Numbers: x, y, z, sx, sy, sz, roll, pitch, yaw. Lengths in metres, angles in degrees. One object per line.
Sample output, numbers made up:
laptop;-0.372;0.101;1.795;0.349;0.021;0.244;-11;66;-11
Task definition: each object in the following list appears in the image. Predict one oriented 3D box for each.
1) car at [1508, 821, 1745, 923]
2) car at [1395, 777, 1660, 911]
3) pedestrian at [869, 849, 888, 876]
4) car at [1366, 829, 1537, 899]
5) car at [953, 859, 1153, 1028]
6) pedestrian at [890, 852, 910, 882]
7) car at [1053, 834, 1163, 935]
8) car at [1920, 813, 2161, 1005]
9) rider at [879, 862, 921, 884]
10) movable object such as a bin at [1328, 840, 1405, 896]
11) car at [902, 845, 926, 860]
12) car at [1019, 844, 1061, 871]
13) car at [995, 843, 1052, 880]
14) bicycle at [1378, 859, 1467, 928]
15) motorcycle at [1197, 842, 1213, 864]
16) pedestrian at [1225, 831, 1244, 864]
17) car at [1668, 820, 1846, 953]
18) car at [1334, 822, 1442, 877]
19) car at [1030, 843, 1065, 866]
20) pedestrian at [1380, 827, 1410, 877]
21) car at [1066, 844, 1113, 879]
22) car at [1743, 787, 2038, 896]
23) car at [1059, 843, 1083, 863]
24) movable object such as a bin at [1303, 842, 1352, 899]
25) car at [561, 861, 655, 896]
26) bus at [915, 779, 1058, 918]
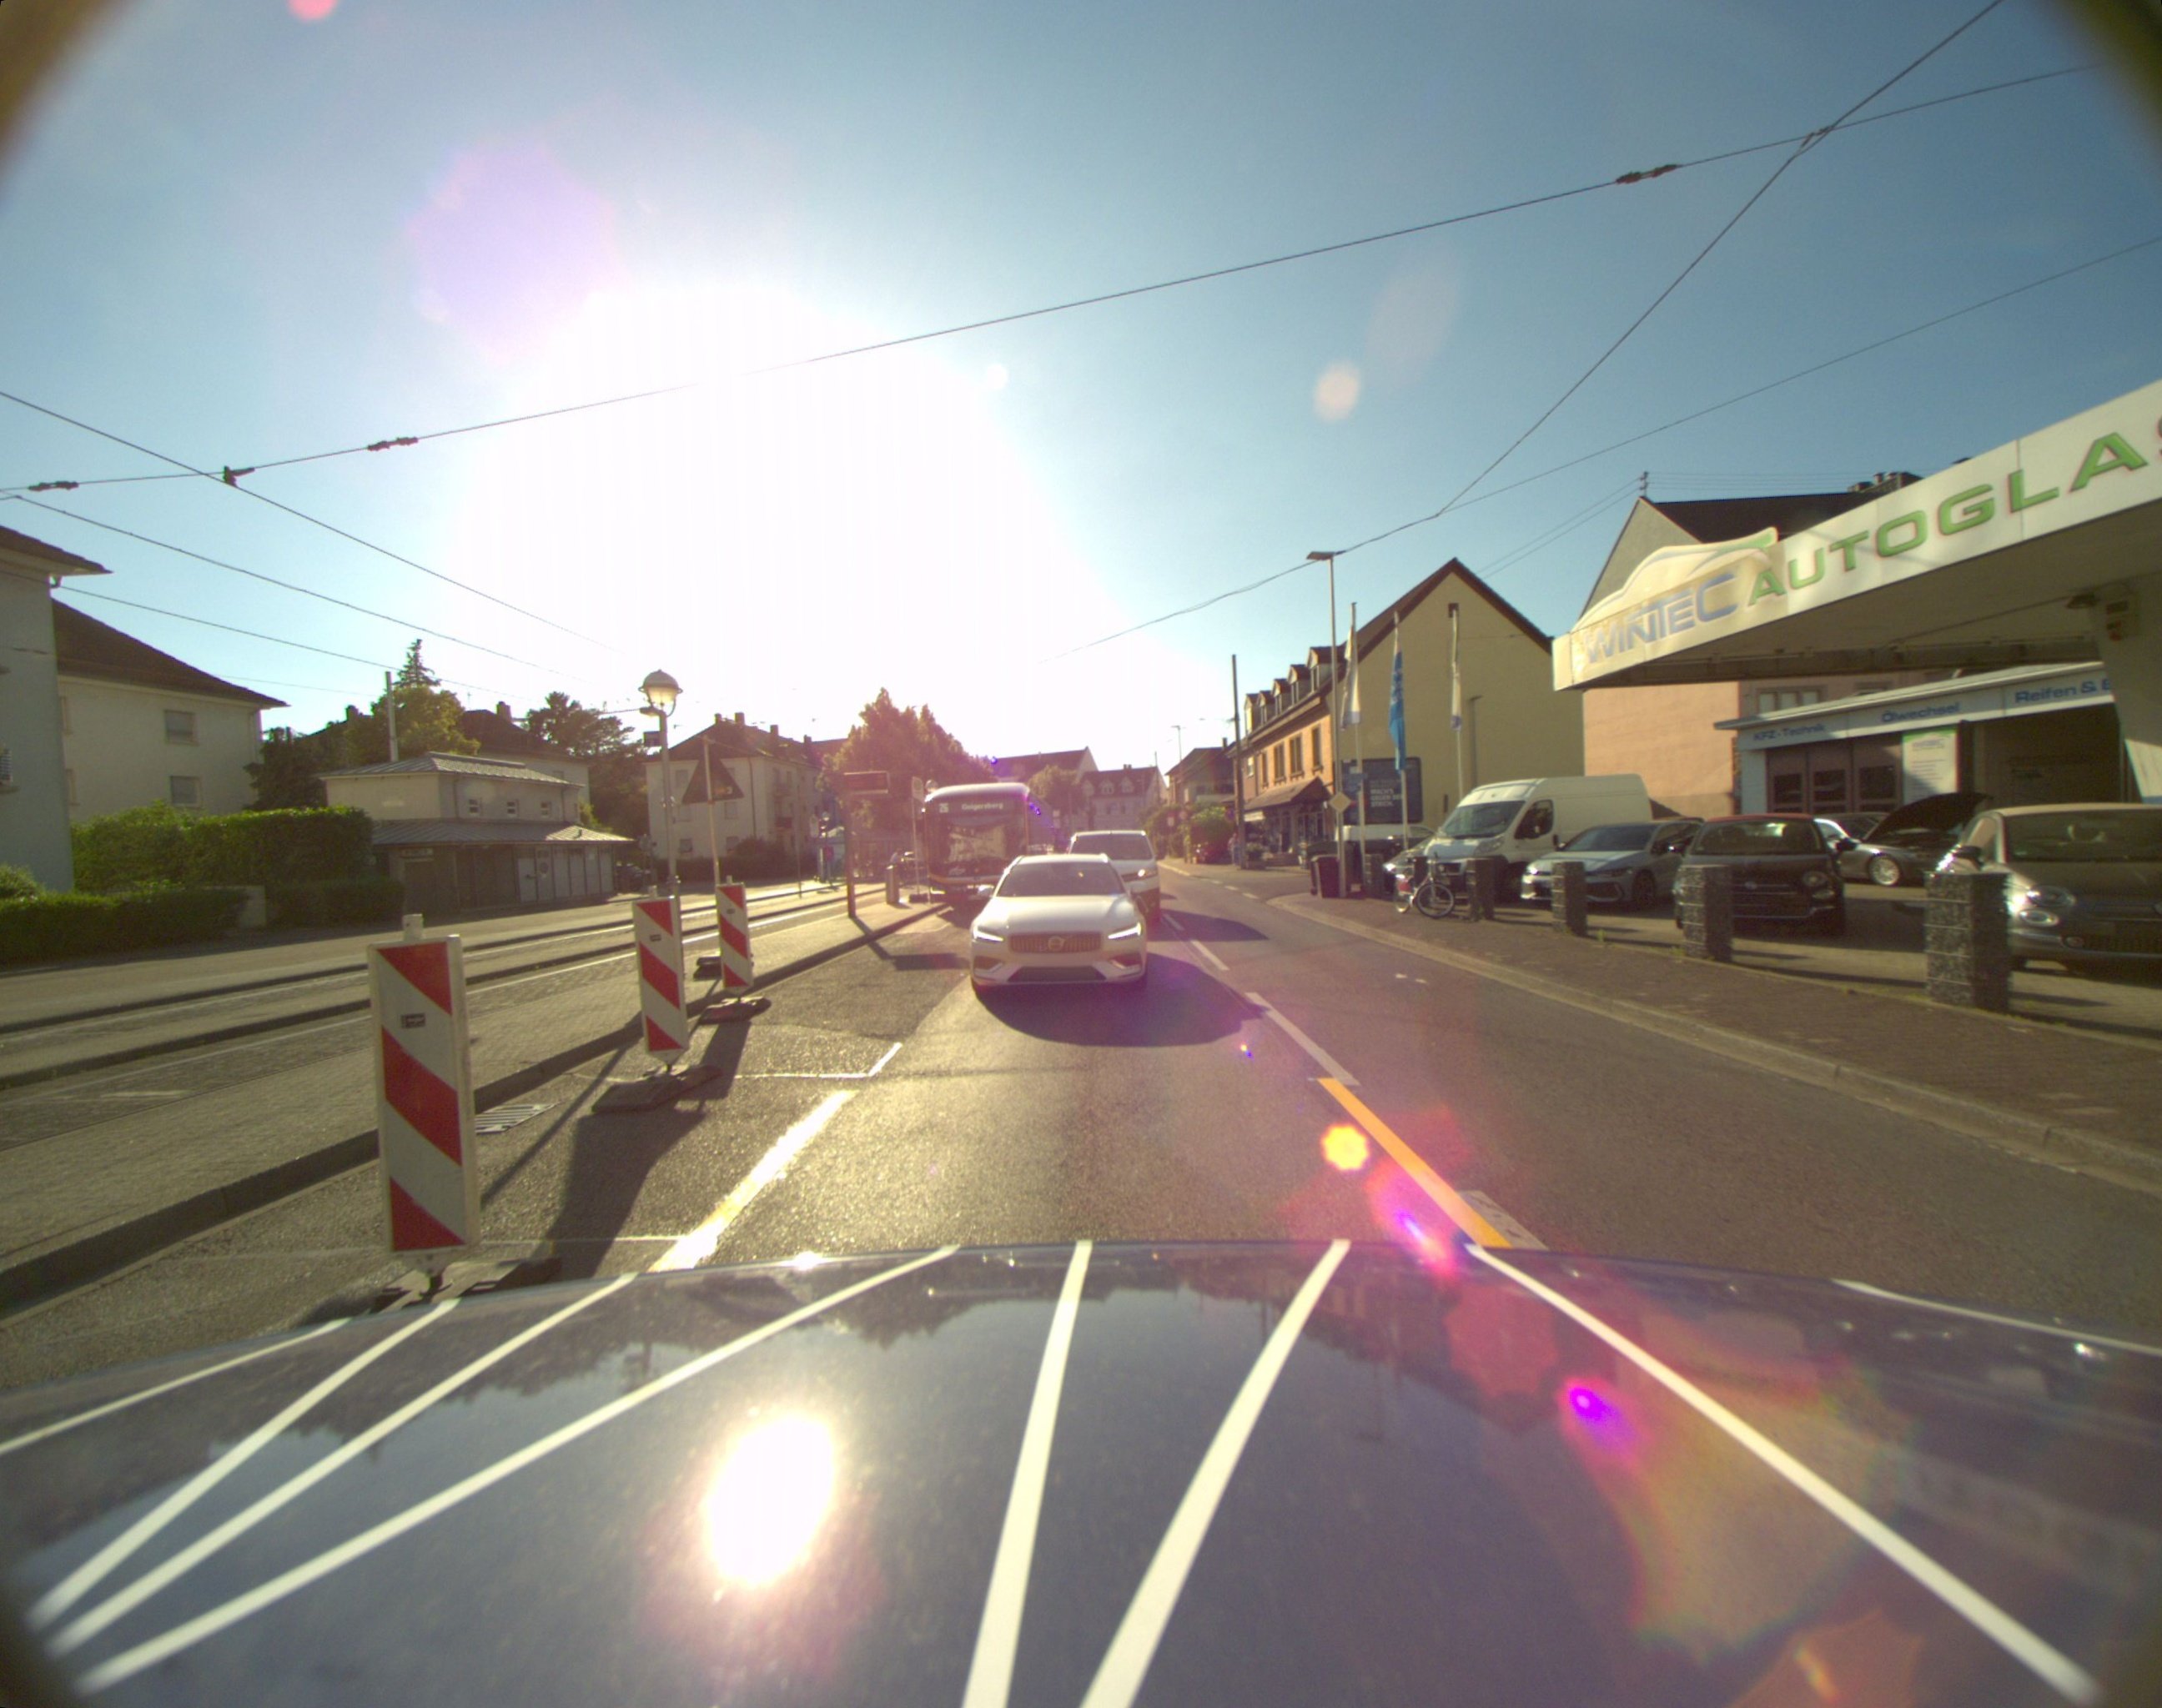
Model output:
car;9.711;0.245;13.500;4.036;1.488;1.739;-3;2;-27
car;9.422;-0.279;16.050;4.996;2.440;2.111;-3;2;-21
pedestrian;-12.121;0.509;45.469;0.826;1.602;0.840;-3;2;-31
car;9.306;0.195;19.045;4.036;1.469;1.739;-3;2;-27
car;-0.191;0.853;9.199;1.820;1.446;4.217;-2;1;2
pedestrian;-8.516;0.605;35.720;0.657;1.373;0.581;-1;2;16
car;0.585;0.527;16.496;1.969;1.816;5.033;-2;1;2
car;9.586;0.390;7.332;1.538;1.478;3.379;-1;2;40
rider;-8.513;0.903;35.738;1.854;0.986;0.581;-1;2;16
movable object such as a bin;7.978;0.366;21.243;1.798;1.456;1.046;-2;2;-24
car;-21.276;-0.230;96.736;1.998;1.853;3.999;-2;1;2
car;-2.353;0.166;44.441;1.969;1.451;4.824;-2;1;2
car;-2.496;0.282;34.054;1.969;1.451;4.824;-2;1;2
bicycle;6.103;0.675;13.683;0.725;1.080;1.791;-3;1;-2
motorcycle;7.232;-0.061;44.466;0.708;1.210;2.186;-2;1;4
pedestrian;8.297;-0.353;41.071;0.809;1.704;0.859;-2;2;2
car;9.232;0.329;10.464;1.590;1.488;3.442;-1;2;41
car;12.143;-0.188;30.159;3.672;2.002;1.451;-2;2;-1
car;-2.237;0.009;51.854;1.969;1.451;4.824;-2;1;2
pedestrian;11.942;-0.094;28.894;0.766;1.842;0.823;-2;2;-1
car;0.443;0.291;35.022;1.969;1.451;4.824;-2;1;2
car;16.762;-0.271;16.122;1.741;1.933;4.257;-2;1;1
car;-0.879;-0.151;69.525;1.969;1.694;4.824;-2;1;2
movable object such as a bin;6.600;0.431;20.309;1.045;1.456;0.797;-1;2;33
car;-26.849;1.364;43.224;4.051;1.664;2.000;-3;1;3
bus;-2.466;-0.220;24.378;2.748;3.284;12.030;-2;1;1
